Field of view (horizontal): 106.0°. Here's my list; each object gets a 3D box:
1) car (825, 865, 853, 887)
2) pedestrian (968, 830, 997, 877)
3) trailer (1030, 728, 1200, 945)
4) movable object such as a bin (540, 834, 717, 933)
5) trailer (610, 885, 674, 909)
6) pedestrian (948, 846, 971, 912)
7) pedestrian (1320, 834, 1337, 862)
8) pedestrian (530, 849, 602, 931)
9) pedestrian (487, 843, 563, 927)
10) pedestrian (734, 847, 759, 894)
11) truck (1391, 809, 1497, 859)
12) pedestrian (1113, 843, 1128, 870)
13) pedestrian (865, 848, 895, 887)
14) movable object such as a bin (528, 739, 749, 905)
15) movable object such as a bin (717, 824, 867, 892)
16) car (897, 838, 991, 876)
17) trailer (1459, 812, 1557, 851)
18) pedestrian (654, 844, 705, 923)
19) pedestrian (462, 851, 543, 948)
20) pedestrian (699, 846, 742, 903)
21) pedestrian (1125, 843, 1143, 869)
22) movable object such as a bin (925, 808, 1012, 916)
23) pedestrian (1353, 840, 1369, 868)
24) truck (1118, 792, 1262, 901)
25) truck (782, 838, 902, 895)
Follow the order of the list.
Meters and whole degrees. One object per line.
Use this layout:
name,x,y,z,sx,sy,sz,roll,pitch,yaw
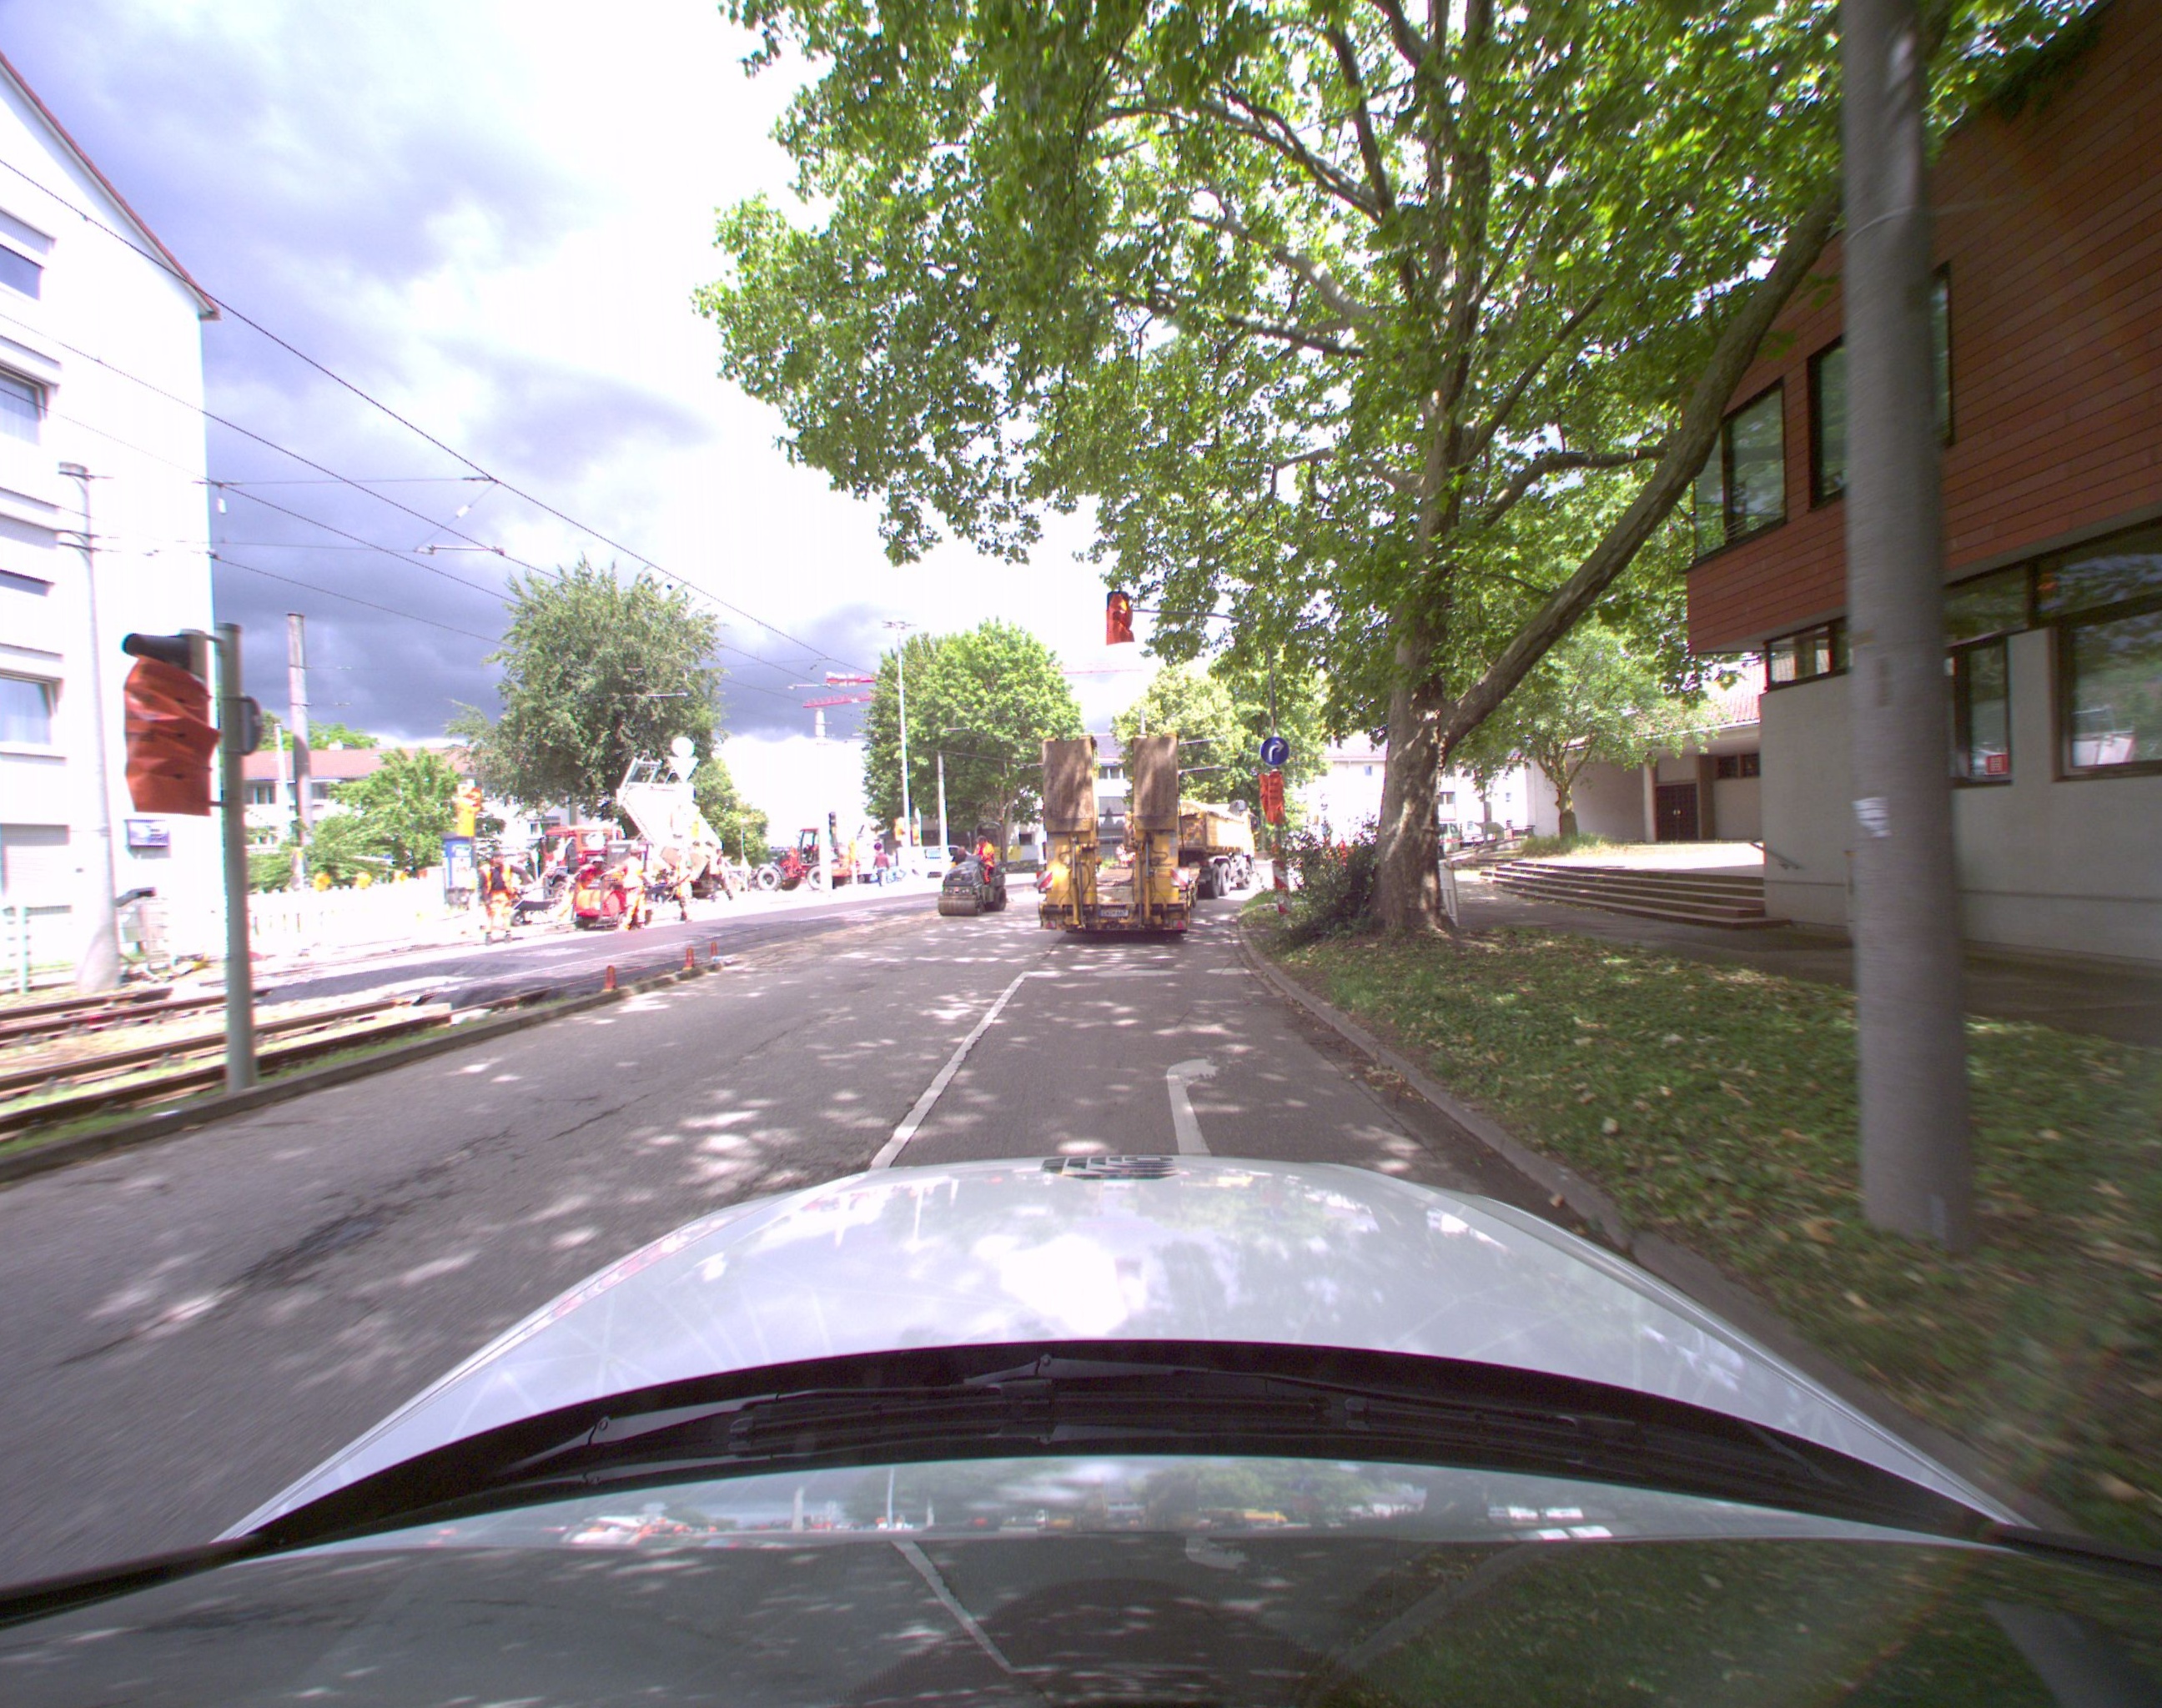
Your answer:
car,-17.732,1.558,59.693,1.775,1.459,3.857,-3,0,-15
pedestrian,-2.587,-0.021,21.454,0.545,1.216,0.619,-2,0,12
trailer,1.335,-0.326,18.908,2.807,3.524,11.077,0,0,8
movable object such as a bin,-10.186,0.605,18.593,1.981,2.013,2.977,-2,0,11
trailer,-13.882,1.342,25.777,0.787,0.616,1.607,-3,0,26
pedestrian,-3.144,0.644,21.045,0.466,1.681,0.559,0,0,5
pedestrian,15.064,-0.339,49.582,0.698,1.668,0.833,-1,-1,42
pedestrian,-11.194,0.768,17.736,0.851,1.716,0.922,-2,1,13
pedestrian,-12.547,0.686,18.390,1.083,1.824,0.878,-2,0,20
pedestrian,-12.970,0.636,31.611,0.577,1.788,0.613,-2,2,5
truck,23.215,-1.300,52.073,6.411,2.724,2.647,-5,2,-27
pedestrian,2.337,0.136,48.303,0.758,1.541,0.797,-3,0,-4
pedestrian,-8.676,0.576,35.220,0.921,1.659,0.877,-2,1,7
movable object such as a bin,-16.889,-0.987,30.834,8.920,5.484,2.839,-3,0,30
movable object such as a bin,-12.180,0.168,34.530,5.539,2.668,2.120,-1,0,7
car,-7.955,0.197,47.194,5.240,1.887,1.991,-3,-2,-13
trailer,28.842,-1.534,54.990,6.263,2.213,2.647,-5,2,-27
pedestrian,-9.651,0.699,19.606,0.779,1.839,0.768,-3,0,-1
pedestrian,-10.795,0.824,15.225,0.744,1.716,0.924,-1,1,22
pedestrian,-11.864,0.659,26.822,0.787,1.832,0.977,-1,0,21
pedestrian,3.142,0.107,48.403,0.903,1.533,0.840,-3,0,-4
movable object such as a bin,-2.830,0.181,20.835,1.307,2.593,2.372,-1,1,15
pedestrian,15.982,-0.014,46.447,0.755,1.551,0.906,-1,2,24
truck,4.006,-0.283,27.870,2.891,3.167,7.723,-1,1,23
truck,-12.824,0.648,43.901,5.536,2.568,2.424,-4,0,6
